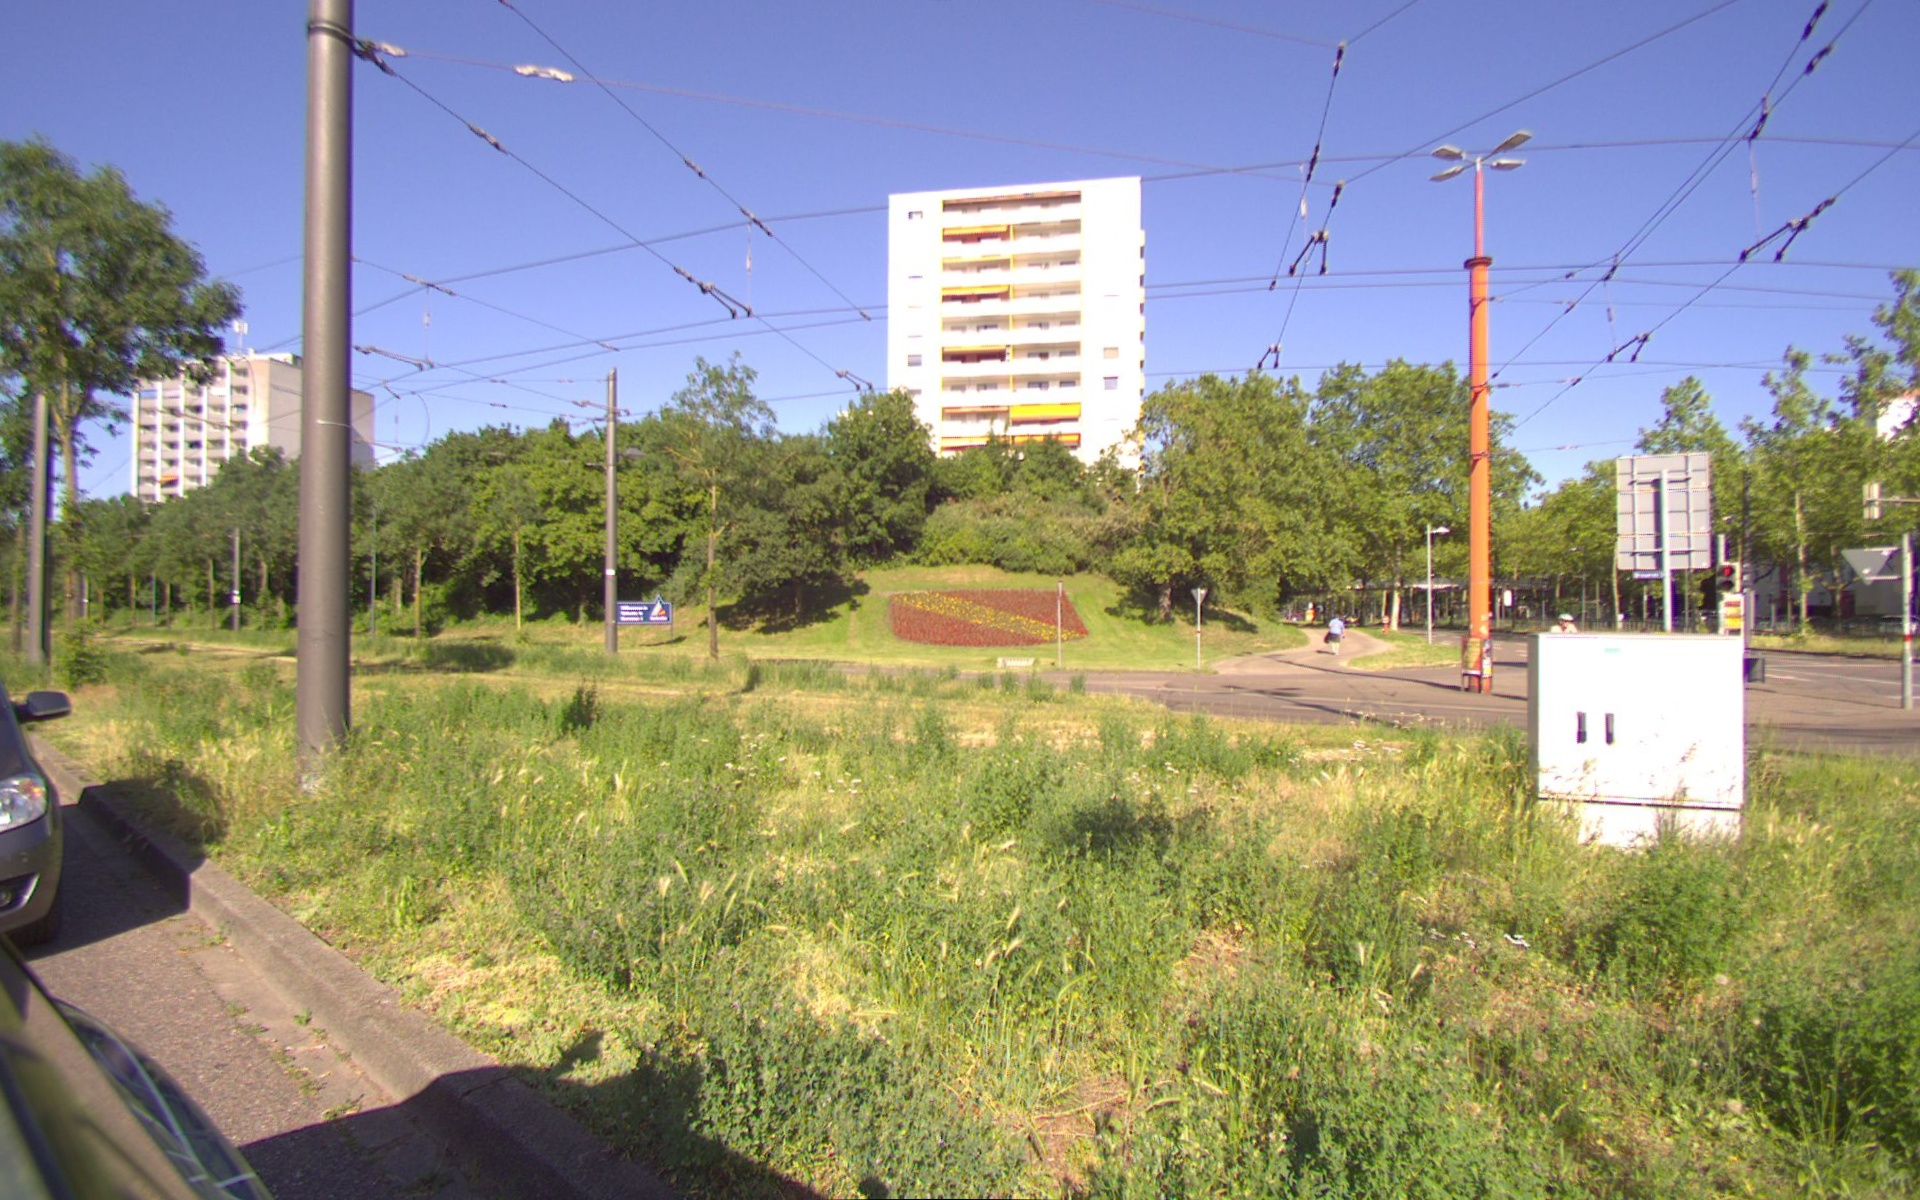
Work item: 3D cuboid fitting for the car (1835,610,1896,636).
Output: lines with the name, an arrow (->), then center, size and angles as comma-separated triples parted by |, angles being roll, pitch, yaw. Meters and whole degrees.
car -> 66.021, 1.692, 73.757 | 3.931, 1.829, 2.006 | 0, -2, -27

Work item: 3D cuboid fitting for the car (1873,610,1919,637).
car -> 65.253, 1.636, 69.861 | 3.931, 1.829, 2.006 | 0, -2, -27

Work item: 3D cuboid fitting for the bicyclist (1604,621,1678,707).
bicyclist -> 13.358, 1.236, 19.878 | 0.920, 1.650, 0.741 | 0, -1, -1

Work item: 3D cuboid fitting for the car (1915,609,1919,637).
car -> 64.411, 1.499, 65.898 | 3.931, 1.829, 2.006 | 0, -2, -27

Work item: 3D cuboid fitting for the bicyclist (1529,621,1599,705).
bicyclist -> 12.100, 1.253, 20.297 | 0.920, 1.650, 0.741 | 0, -1, -1

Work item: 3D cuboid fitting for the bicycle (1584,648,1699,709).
bicycle -> 13.361, 1.516, 19.912 | 0.915, 1.095, 1.888 | 0, -1, -2

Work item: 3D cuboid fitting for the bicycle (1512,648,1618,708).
bicycle -> 12.096, 1.531, 20.314 | 0.915, 1.095, 1.888 | 0, -1, -2

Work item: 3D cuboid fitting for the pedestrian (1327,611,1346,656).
pedestrian -> 16.491, 1.459, 44.341 | 0.729, 1.949, 0.726 | -1, -2, 24

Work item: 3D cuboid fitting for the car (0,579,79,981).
car -> -5.936, 0.750, 5.039 | 4.382, 1.619, 1.754 | -1, -2, 41
